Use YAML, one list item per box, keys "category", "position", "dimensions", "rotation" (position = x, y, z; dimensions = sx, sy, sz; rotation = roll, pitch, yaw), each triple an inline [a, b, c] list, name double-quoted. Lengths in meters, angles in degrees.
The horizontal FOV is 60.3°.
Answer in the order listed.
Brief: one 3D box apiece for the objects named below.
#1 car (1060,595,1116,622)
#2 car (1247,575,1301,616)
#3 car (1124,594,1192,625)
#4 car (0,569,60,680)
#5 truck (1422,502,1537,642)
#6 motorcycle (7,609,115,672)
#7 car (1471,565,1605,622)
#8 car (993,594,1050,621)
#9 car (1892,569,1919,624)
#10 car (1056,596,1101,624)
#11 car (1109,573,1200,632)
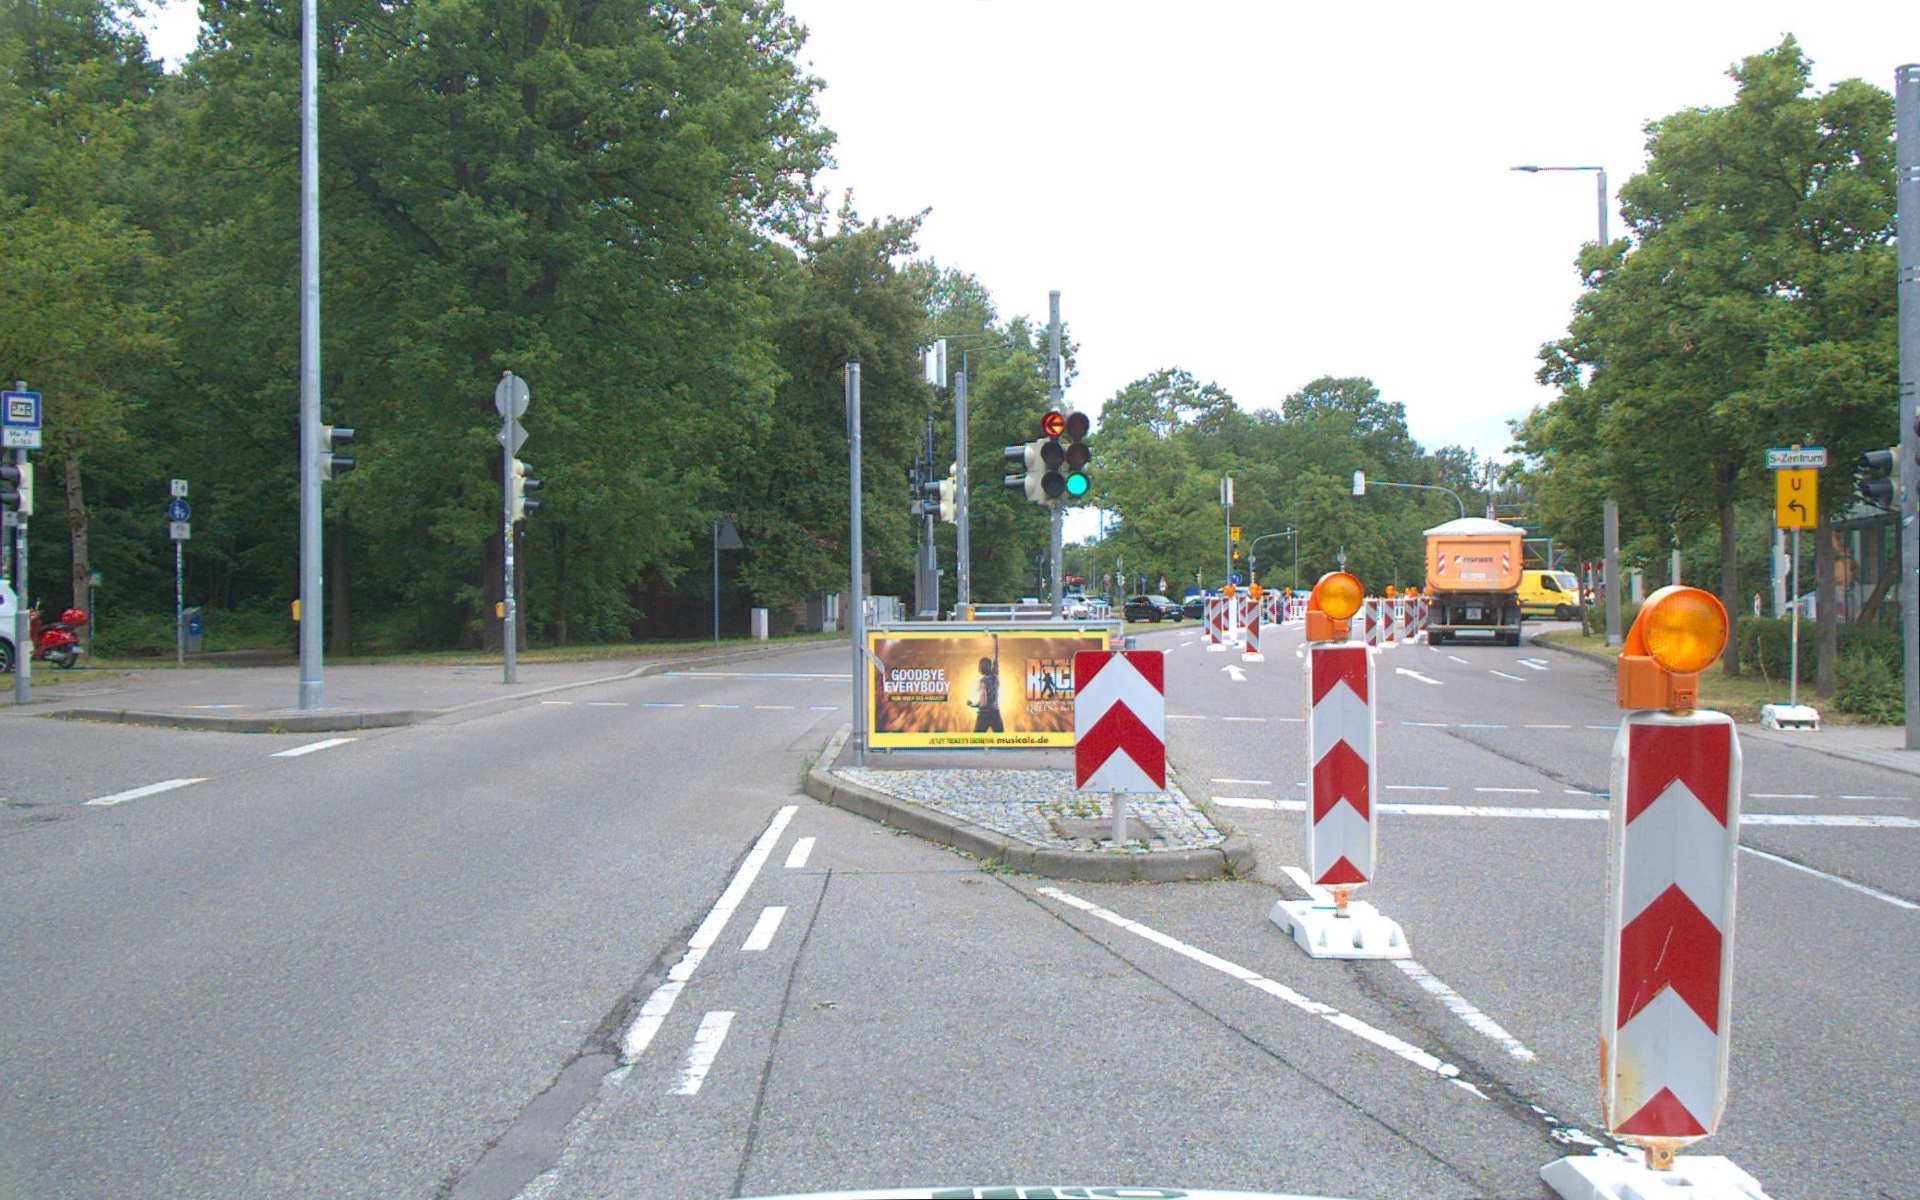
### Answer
- category: "car"
  position: [9.591, 0.615, 123.900]
  dimensions: [1.984, 1.915, 3.937]
  rotation: [1, 0, -43]
- category: "car"
  position: [14.006, -0.169, 73.590]
  dimensions: [1.759, 1.769, 3.703]
  rotation: [1, 0, 20]
- category: "car"
  position: [12.446, 0.581, 104.174]
  dimensions: [1.984, 1.915, 3.937]
  rotation: [1, 0, -43]
- category: "car"
  position: [-16.506, 0.445, 25.113]
  dimensions: [2.118, 1.722, 4.527]
  rotation: [-2, 0, 30]
- category: "truck"
  position: [14.809, -0.775, 46.784]
  dimensions: [2.799, 3.576, 8.251]
  rotation: [-1, 1, 19]
- category: "motorcycle"
  position: [-17.437, 0.781, 32.086]
  dimensions: [1.963, 1.181, 0.677]
  rotation: [-1, 0, 18]
- category: "car"
  position: [27.254, -0.302, 78.252]
  dimensions: [1.975, 2.537, 6.079]
  rotation: [1, 0, -33]
- category: "car"
  position: [4.486, 0.517, 121.561]
  dimensions: [1.984, 1.915, 3.937]
  rotation: [1, 0, -43]
- category: "car"
  position: [37.421, -0.097, 61.615]
  dimensions: [1.975, 2.049, 4.279]
  rotation: [1, 0, -33]
- category: "car"
  position: [7.828, 0.643, 108.940]
  dimensions: [1.951, 1.780, 4.581]
  rotation: [1, 0, 17]
- category: "car"
  position: [6.105, 0.093, 51.607]
  dimensions: [1.952, 1.747, 4.001]
  rotation: [1, 0, 20]
